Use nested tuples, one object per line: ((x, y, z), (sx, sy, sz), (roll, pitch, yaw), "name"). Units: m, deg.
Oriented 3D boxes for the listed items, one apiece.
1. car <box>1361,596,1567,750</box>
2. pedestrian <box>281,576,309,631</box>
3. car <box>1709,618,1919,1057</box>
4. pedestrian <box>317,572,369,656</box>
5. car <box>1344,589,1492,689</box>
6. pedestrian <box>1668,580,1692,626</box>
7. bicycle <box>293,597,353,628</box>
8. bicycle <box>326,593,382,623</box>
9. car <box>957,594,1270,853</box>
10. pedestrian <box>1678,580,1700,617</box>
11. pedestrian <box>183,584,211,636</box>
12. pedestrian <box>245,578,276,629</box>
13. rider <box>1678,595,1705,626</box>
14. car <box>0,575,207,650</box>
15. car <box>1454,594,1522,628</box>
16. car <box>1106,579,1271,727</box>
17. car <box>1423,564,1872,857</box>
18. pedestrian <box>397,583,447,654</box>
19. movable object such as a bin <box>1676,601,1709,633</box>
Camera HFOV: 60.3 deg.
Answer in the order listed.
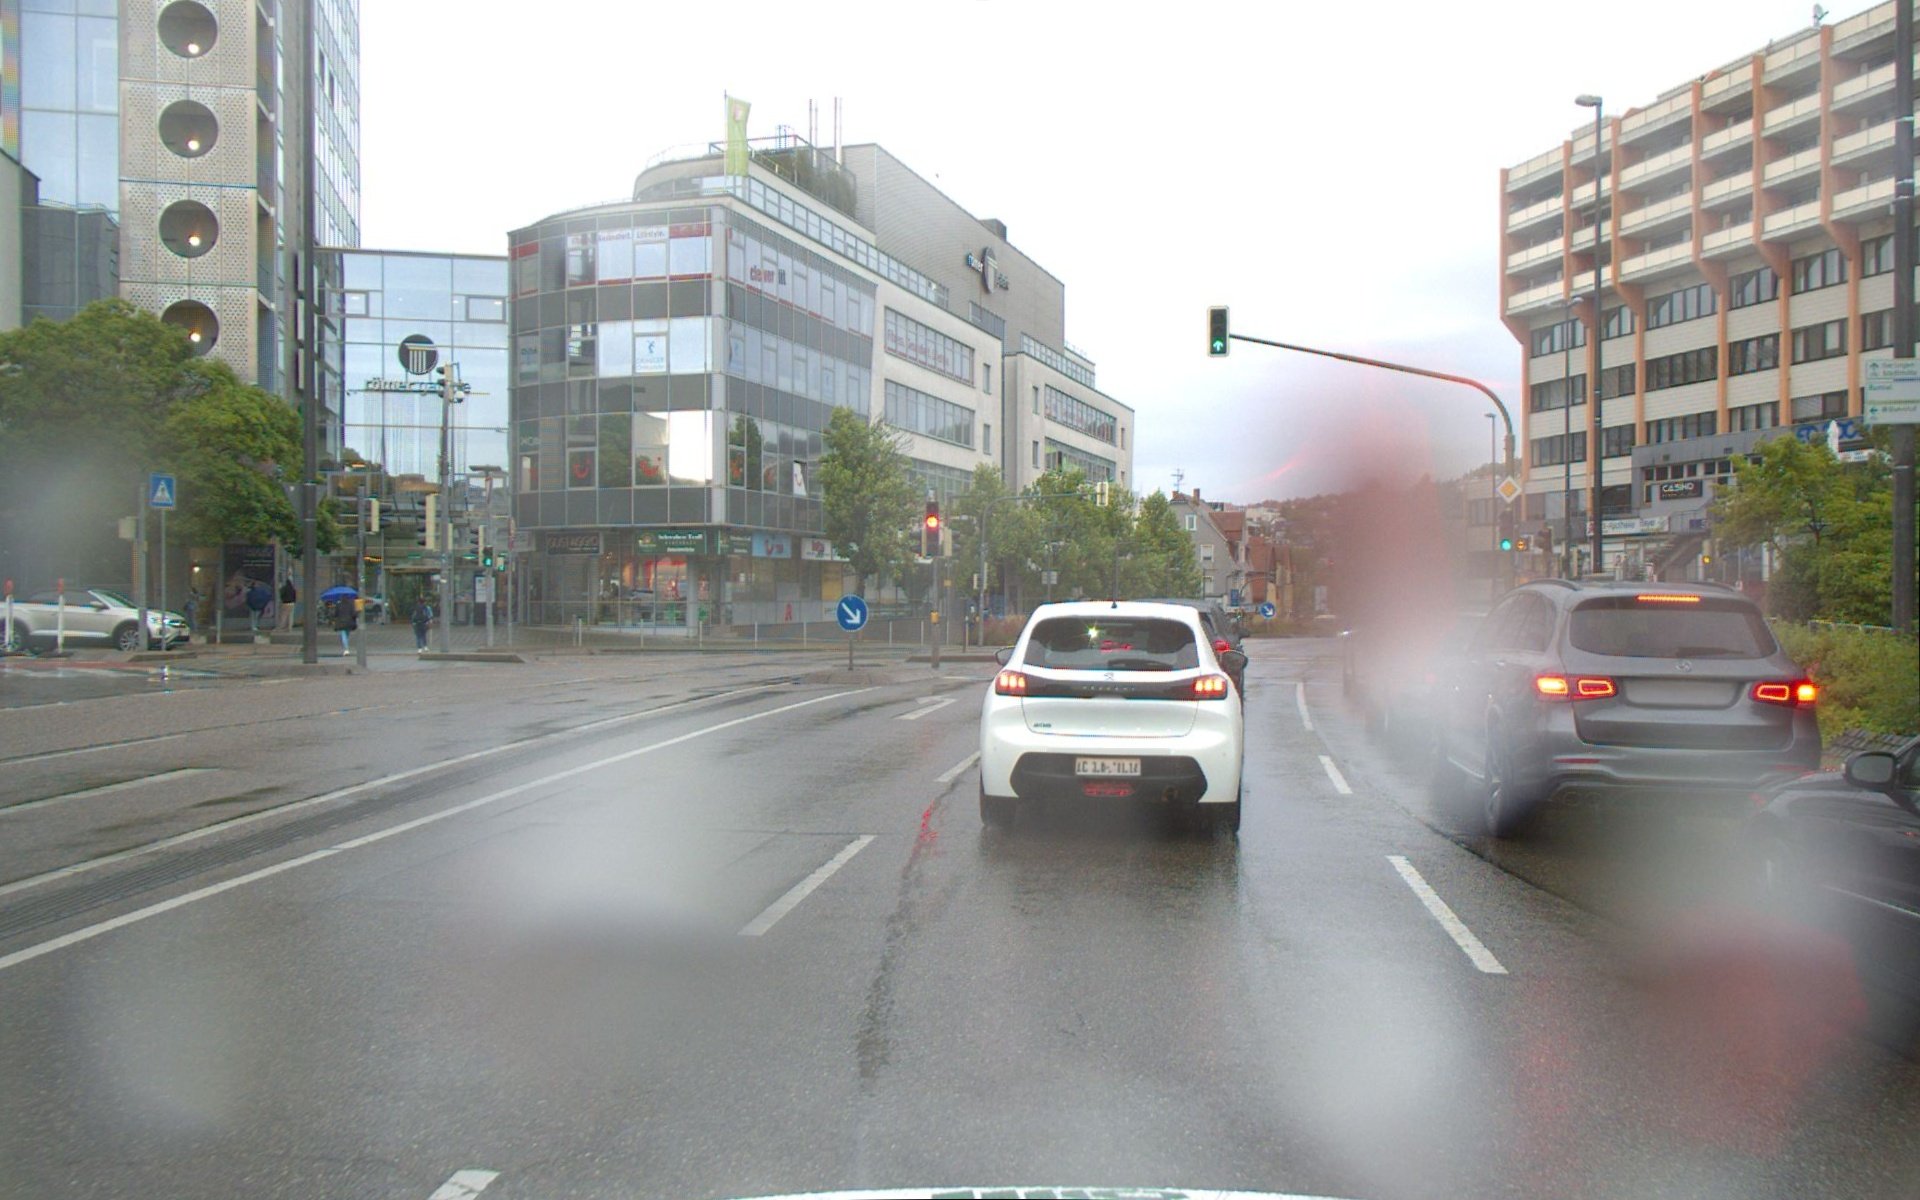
((5.511, 0.714, 18.551), (1.599, 1.473, 4.272), (2, 0, 9), "car")
((-24.899, 0.125, 61.910), (0.697, 2.049, 0.765), (1, 0, 0), "pedestrian")
((3.911, 0.806, 4.953), (1.597, 1.410, 4.517), (1, 0, 5), "car")
((-15.236, 0.340, 40.877), (1.145, 2.049, 1.321), (1, 0, -20), "pedestrian")
((6.954, 0.555, 25.420), (1.871, 1.425, 3.461), (0, 0, 10), "car")
((26.753, 0.102, 61.453), (0.693, 1.634, 0.655), (5, 2, 22), "pedestrian")
((-26.146, 0.499, 67.954), (2.235, 1.268, 0.674), (0, -1, -15), "bicycle")
((-26.629, 0.350, 72.666), (2.235, 1.268, 0.674), (0, -1, -15), "bicycle")
((1.156, 0.728, 11.761), (1.832, 1.487, 3.876), (1, 0, 7), "car")
((27.233, -0.048, 61.761), (0.693, 1.369, 0.655), (-1, -1, 20), "pedestrian")
((-27.855, 0.366, 60.368), (0.746, 1.901, 0.821), (0, 0, -40), "pedestrian")
((-26.105, 0.135, 61.727), (0.813, 1.901, 0.754), (0, 0, 8), "pedestrian")
((32.650, 0.455, 73.819), (0.903, 1.307, 1.091), (-3, 0, 17), "rider")
((-19.678, 0.280, 37.744), (4.112, 1.623, 1.867), (1, 0, -7), "car")
((36.734, 0.774, 115.128), (1.963, 2.265, 4.949), (0, -1, -19), "car")
((2.840, 0.570, 20.574), (1.777, 1.556, 3.816), (3, 1, 8), "car")
((4.563, 0.625, 11.719), (1.861, 1.649, 4.339), (1, 0, 8), "car")
((-14.396, 0.493, 44.260), (0.828, 1.851, 1.025), (0, -1, 18), "pedestrian")
((32.691, 0.781, 73.833), (1.106, 1.355, 1.455), (-3, -2, 16), "movable object such as a bin")
